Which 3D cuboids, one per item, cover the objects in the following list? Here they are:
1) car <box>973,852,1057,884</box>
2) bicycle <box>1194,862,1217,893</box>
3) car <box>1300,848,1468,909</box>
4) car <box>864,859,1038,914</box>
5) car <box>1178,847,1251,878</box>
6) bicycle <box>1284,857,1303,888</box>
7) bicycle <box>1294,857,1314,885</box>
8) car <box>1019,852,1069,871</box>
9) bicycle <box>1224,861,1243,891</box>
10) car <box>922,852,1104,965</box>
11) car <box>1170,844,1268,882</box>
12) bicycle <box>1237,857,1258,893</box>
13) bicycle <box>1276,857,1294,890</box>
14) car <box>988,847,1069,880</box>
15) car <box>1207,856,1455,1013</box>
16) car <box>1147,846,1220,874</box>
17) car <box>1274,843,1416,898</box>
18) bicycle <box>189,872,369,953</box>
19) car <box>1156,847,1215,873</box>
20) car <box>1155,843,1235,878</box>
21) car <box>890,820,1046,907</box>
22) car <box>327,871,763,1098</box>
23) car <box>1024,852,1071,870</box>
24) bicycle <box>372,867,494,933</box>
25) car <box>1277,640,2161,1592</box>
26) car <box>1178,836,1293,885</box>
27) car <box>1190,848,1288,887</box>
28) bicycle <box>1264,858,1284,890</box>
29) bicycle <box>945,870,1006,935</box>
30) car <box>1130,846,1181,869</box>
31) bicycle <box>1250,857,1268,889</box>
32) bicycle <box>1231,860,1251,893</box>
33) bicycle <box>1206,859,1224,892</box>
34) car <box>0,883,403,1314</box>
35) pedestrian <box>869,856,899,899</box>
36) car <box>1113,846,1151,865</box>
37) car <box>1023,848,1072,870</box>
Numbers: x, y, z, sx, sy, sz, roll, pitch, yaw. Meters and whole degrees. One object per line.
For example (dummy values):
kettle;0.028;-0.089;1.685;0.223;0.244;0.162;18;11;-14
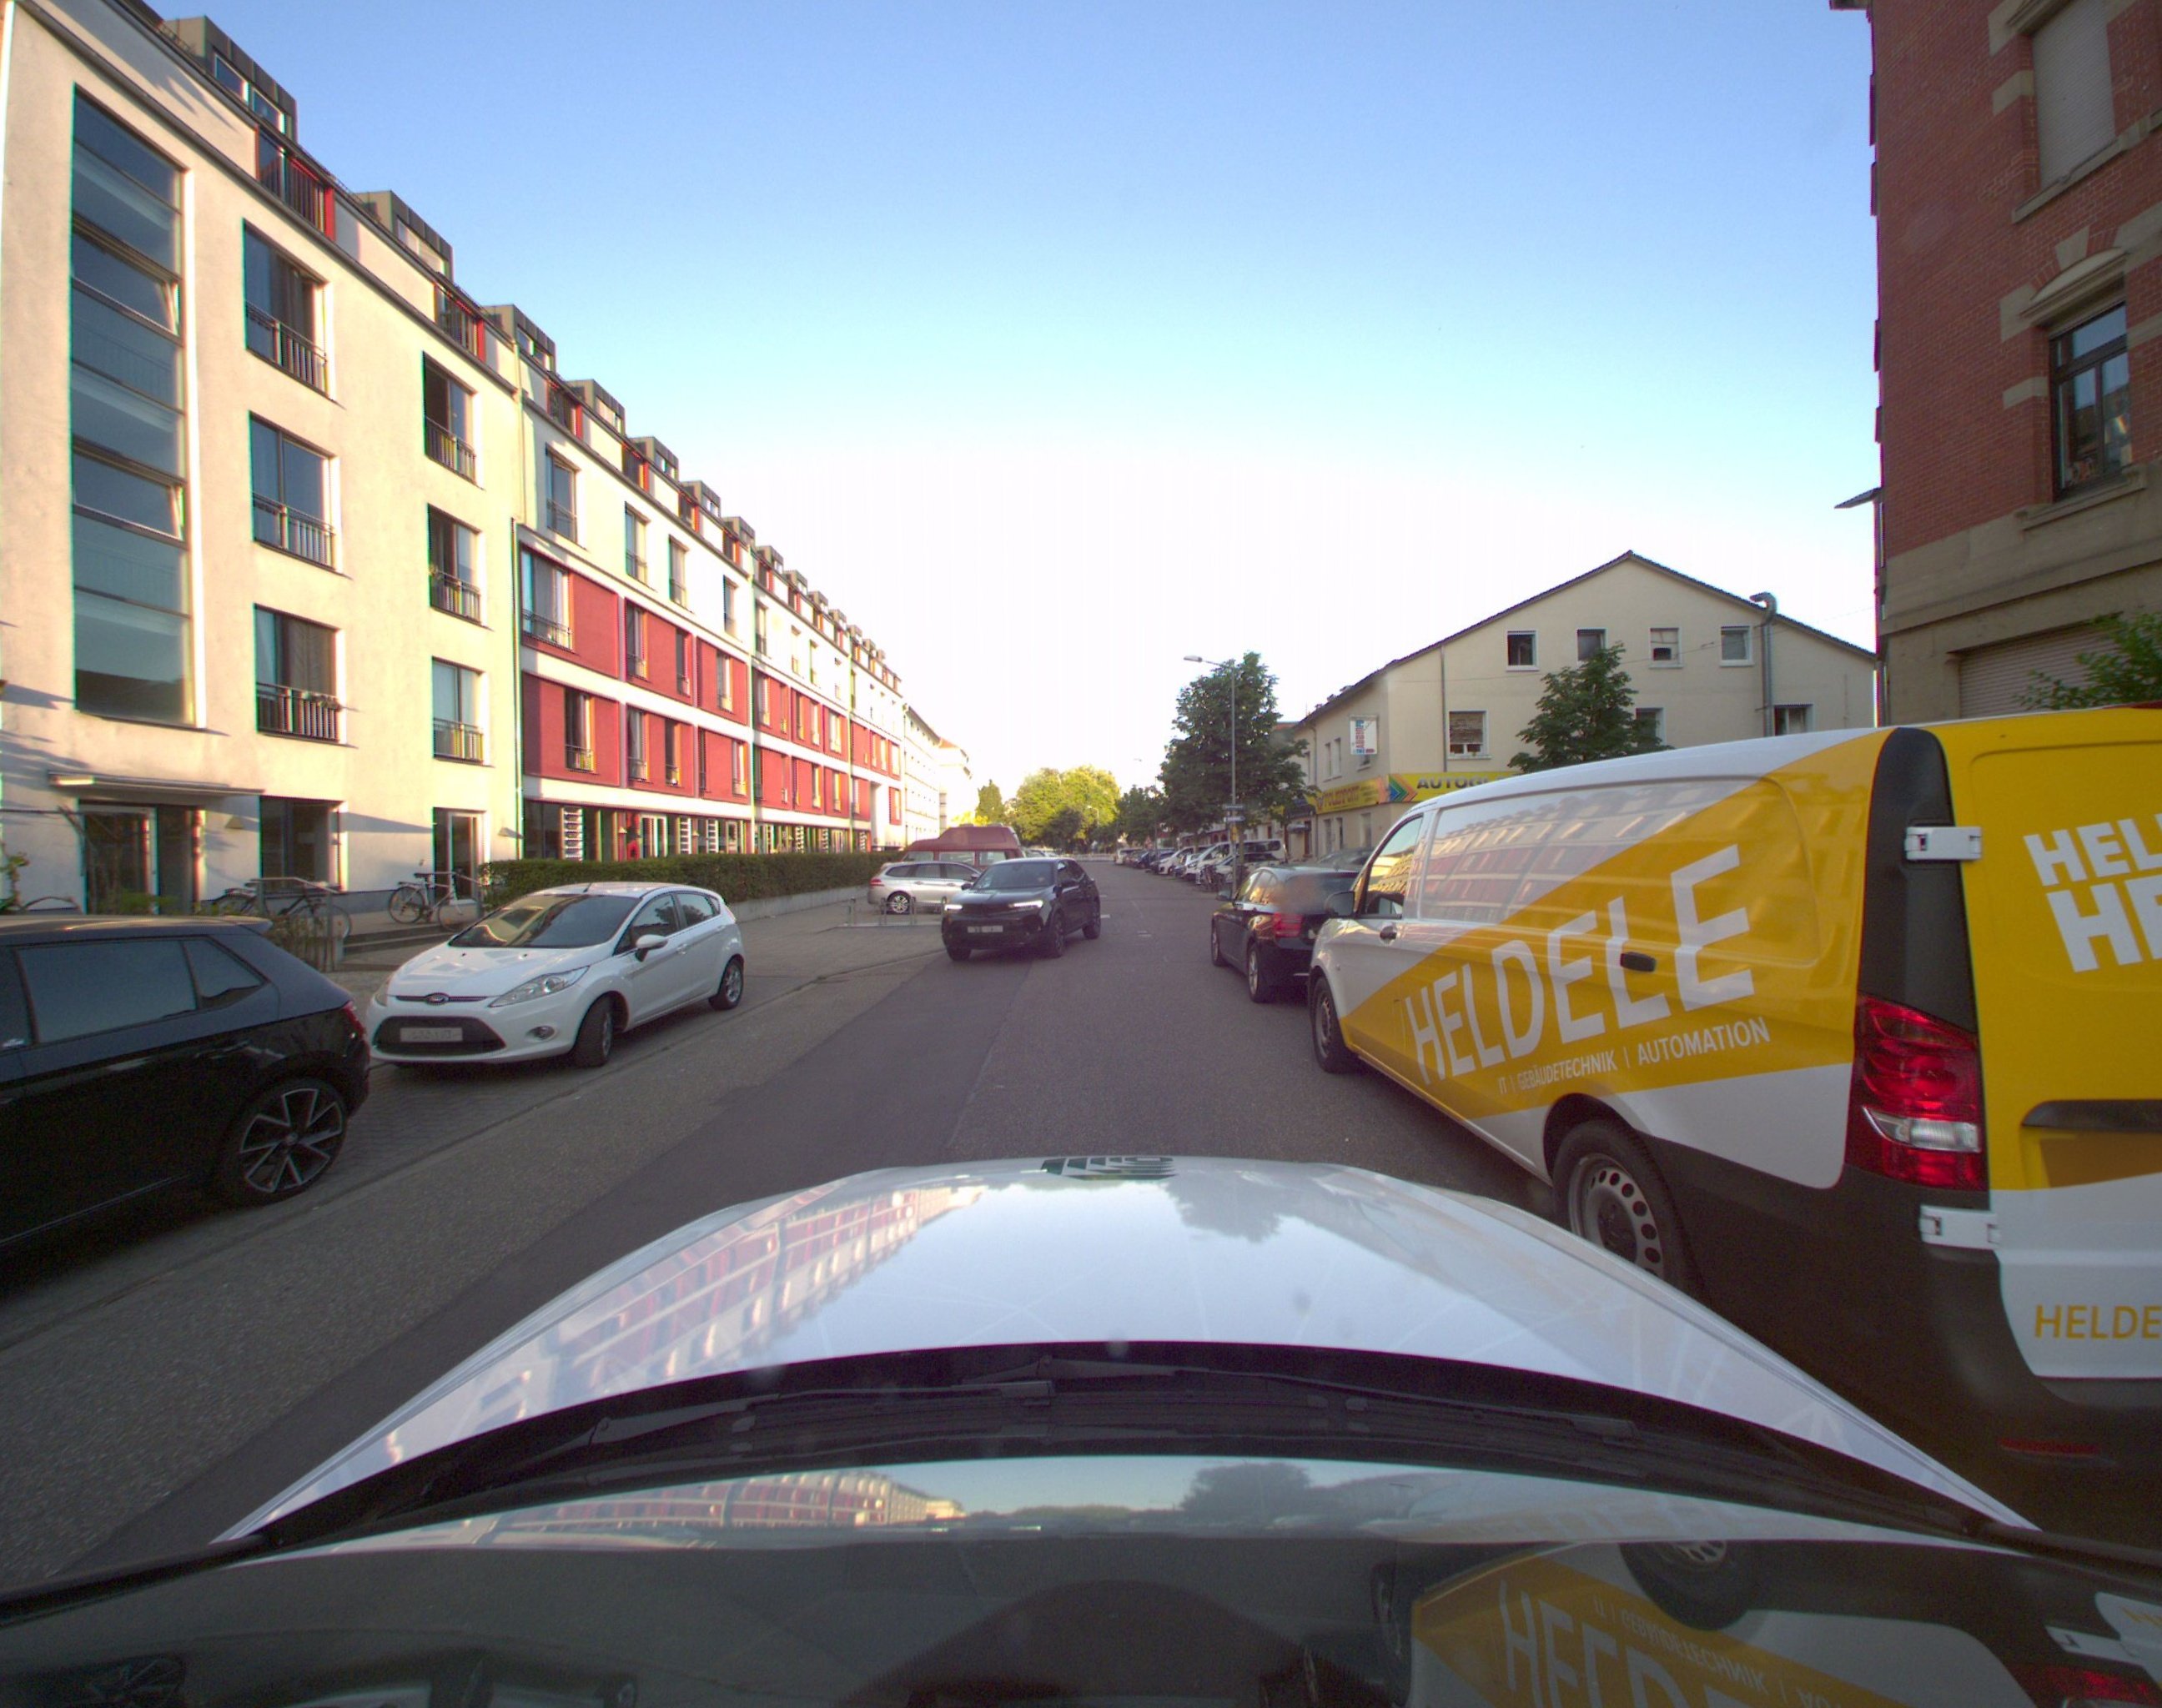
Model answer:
car;-3.480;0.740;43.480;4.241;1.660;2.000;0;0;1
bicycle;4.830;0.906;31.687;0.437;1.130;2.014;-3;0;-4
car;8.122;0.628;22.020;3.919;1.455;1.656;-2;0;-3
car;-3.531;0.870;22.825;4.604;1.460;1.879;0;0;-3
car;7.612;0.481;46.757;3.897;1.526;1.940;-3;0;2
bicycle;8.280;0.716;31.729;0.351;1.143;1.482;-3;0;2
bicycle;8.682;0.647;31.768;0.386;1.017;1.482;-3;0;2
car;-3.185;0.648;71.492;4.241;1.714;2.000;0;0;1
bicycle;5.957;0.834;31.888;0.384;1.114;2.018;-3;0;2
car;-0.935;0.786;13.573;1.767;1.517;4.015;-3;0;14
car;7.397;0.471;44.126;4.925;1.742;2.050;-3;0;2
bicycle;6.503;0.803;31.875;0.384;1.304;2.018;-3;0;2
bicycle;7.919;0.738;31.654;0.351;1.200;1.482;-3;0;2
car;-3.213;0.555;50.389;4.833;2.021;1.907;0;0;1
car;2.637;0.749;9.638;1.715;1.424;4.254;0;0;1
car;7.364;0.421;58.894;4.929;1.689;2.076;-3;0;-1
car;8.550;0.518;26.615;4.035;1.514;1.757;-3;2;2
bicycle;-11.947;0.852;12.175;1.908;1.141;0.812;0;0;1
car;8.135;0.473;63.791;4.304;1.804;1.810;-3;0;-1
car;7.545;0.422;54.067;4.929;1.958;2.049;-3;0;-1
car;-3.446;0.288;25.403;4.493;2.584;2.001;0;0;2
car;-4.685;0.987;7.947;1.646;1.530;4.015;-1;0;-1
car;-3.129;0.644;76.265;4.241;1.749;2.000;0;0;1
bicycle;-11.758;0.820;14.797;1.768;1.148;0.611;0;0;3
car;2.525;0.504;4.162;1.886;1.884;5.082;-1;0;1
car;7.277;0.307;38.782;4.971;1.983;2.220;-3;0;1
car;6.948;0.572;35.999;3.908;1.451;1.767;-3;0;-2
bicycle;7.492;0.765;31.670;0.443;1.200;1.482;-3;0;2
bicycle;-2.212;0.990;17.504;0.804;1.221;2.867;0;0;3
car;6.943;0.308;76.499;4.470;1.911;1.685;-3;0;-4
bicycle;6.914;0.722;31.712;0.384;1.200;1.482;-3;0;2
bicycle;6.244;0.865;31.870;0.384;1.200;2.018;-3;0;2
bicycle;5.247;0.817;31.867;0.384;1.200;2.018;-3;0;2
car;-4.877;0.954;2.849;1.697;1.534;3.845;-1;0;1
pedestrian;-7.035;0.824;29.105;0.829;1.501;0.798;0;0;2
car;5.698;0.162;92.011;3.960;1.911;2.046;-3;0;-4
car;-3.218;0.502;78.905;4.517;2.134;2.000;0;0;1
